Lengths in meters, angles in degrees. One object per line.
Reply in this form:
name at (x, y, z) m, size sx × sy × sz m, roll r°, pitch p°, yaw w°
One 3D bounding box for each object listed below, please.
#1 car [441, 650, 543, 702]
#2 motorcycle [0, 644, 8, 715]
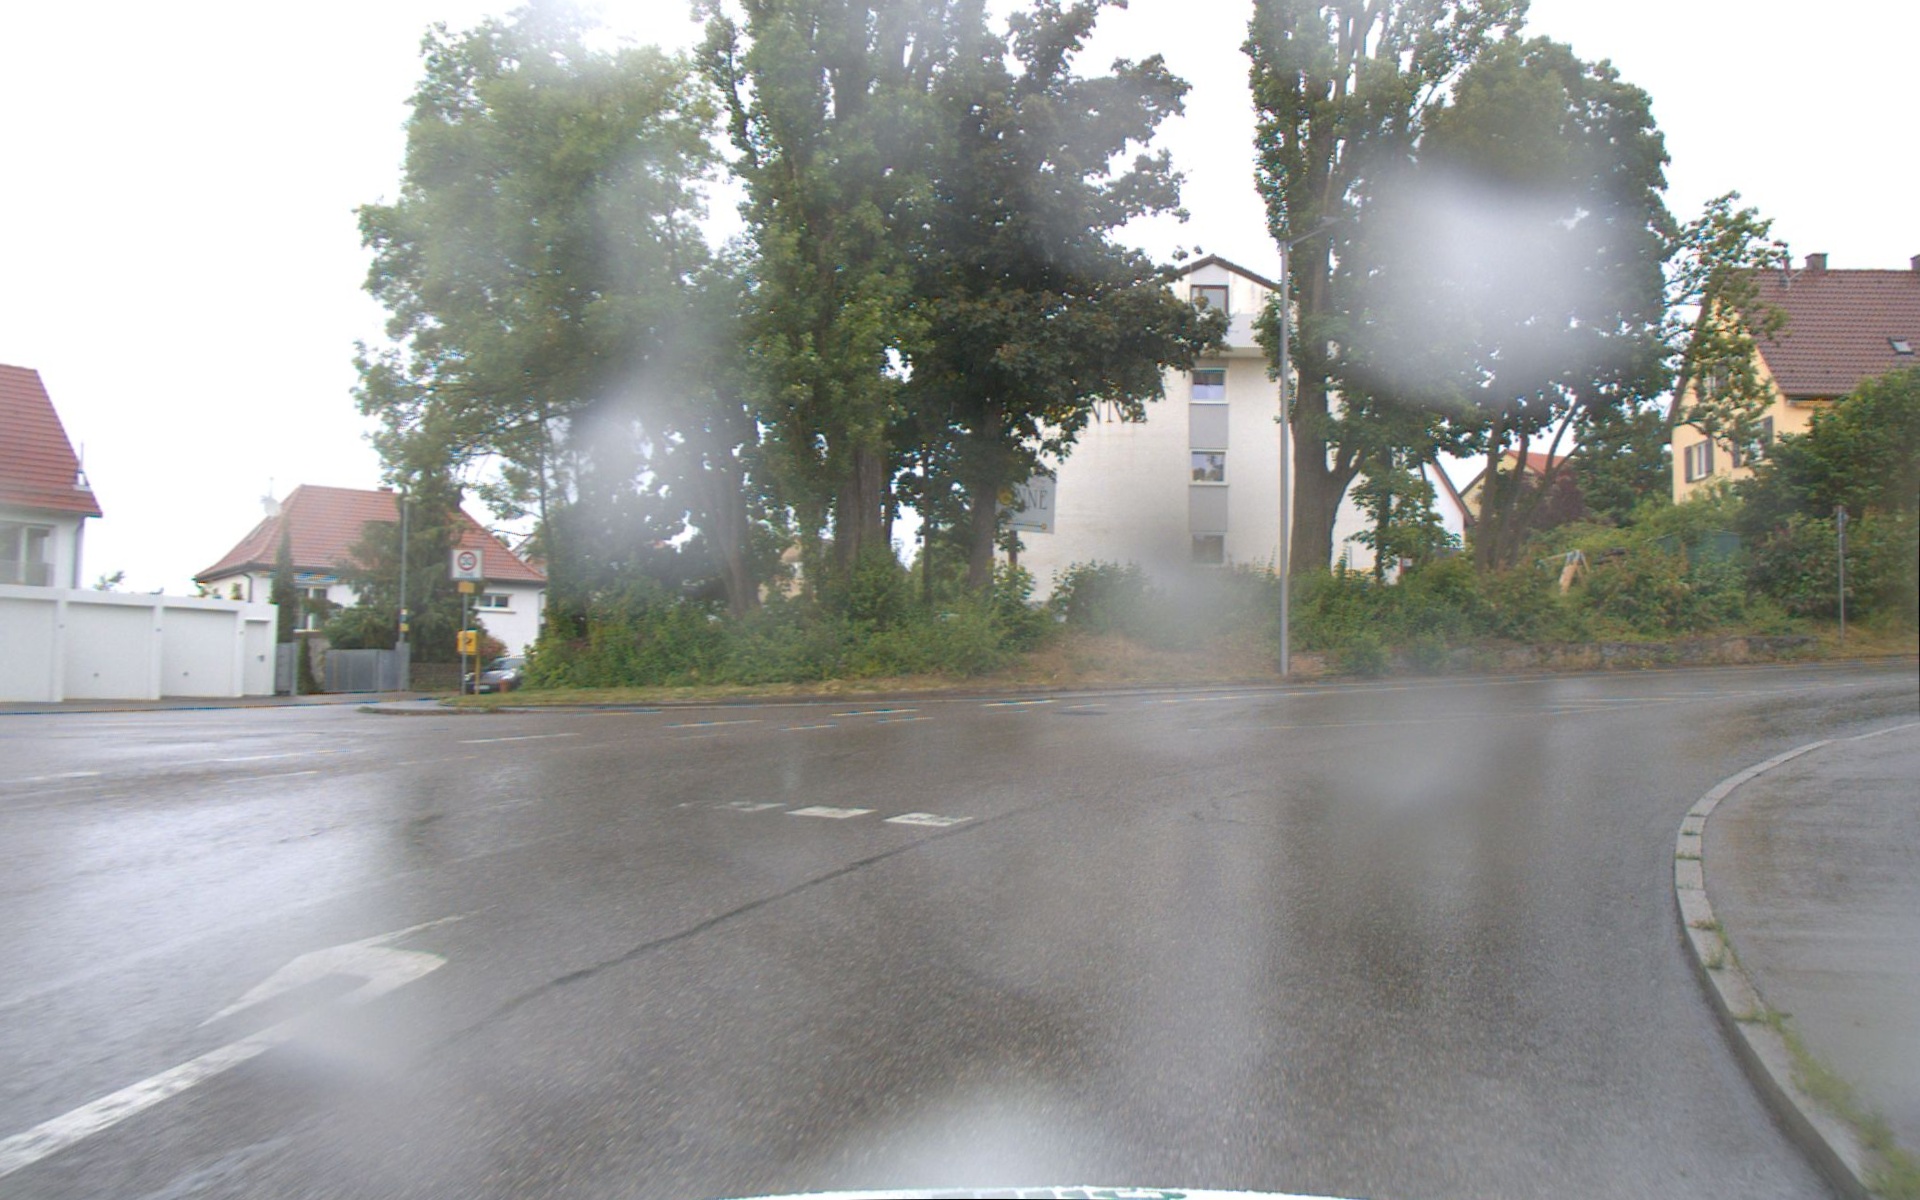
car at (-14.975, 2.405, 53.094) m, size 1.952 × 1.534 × 4.001 m, roll 0°, pitch -1°, yaw 3°
motorcycle at (-18.729, 1.508, 30.609) m, size 0.691 × 1.345 × 2.047 m, roll -1°, pitch -1°, yaw 15°
